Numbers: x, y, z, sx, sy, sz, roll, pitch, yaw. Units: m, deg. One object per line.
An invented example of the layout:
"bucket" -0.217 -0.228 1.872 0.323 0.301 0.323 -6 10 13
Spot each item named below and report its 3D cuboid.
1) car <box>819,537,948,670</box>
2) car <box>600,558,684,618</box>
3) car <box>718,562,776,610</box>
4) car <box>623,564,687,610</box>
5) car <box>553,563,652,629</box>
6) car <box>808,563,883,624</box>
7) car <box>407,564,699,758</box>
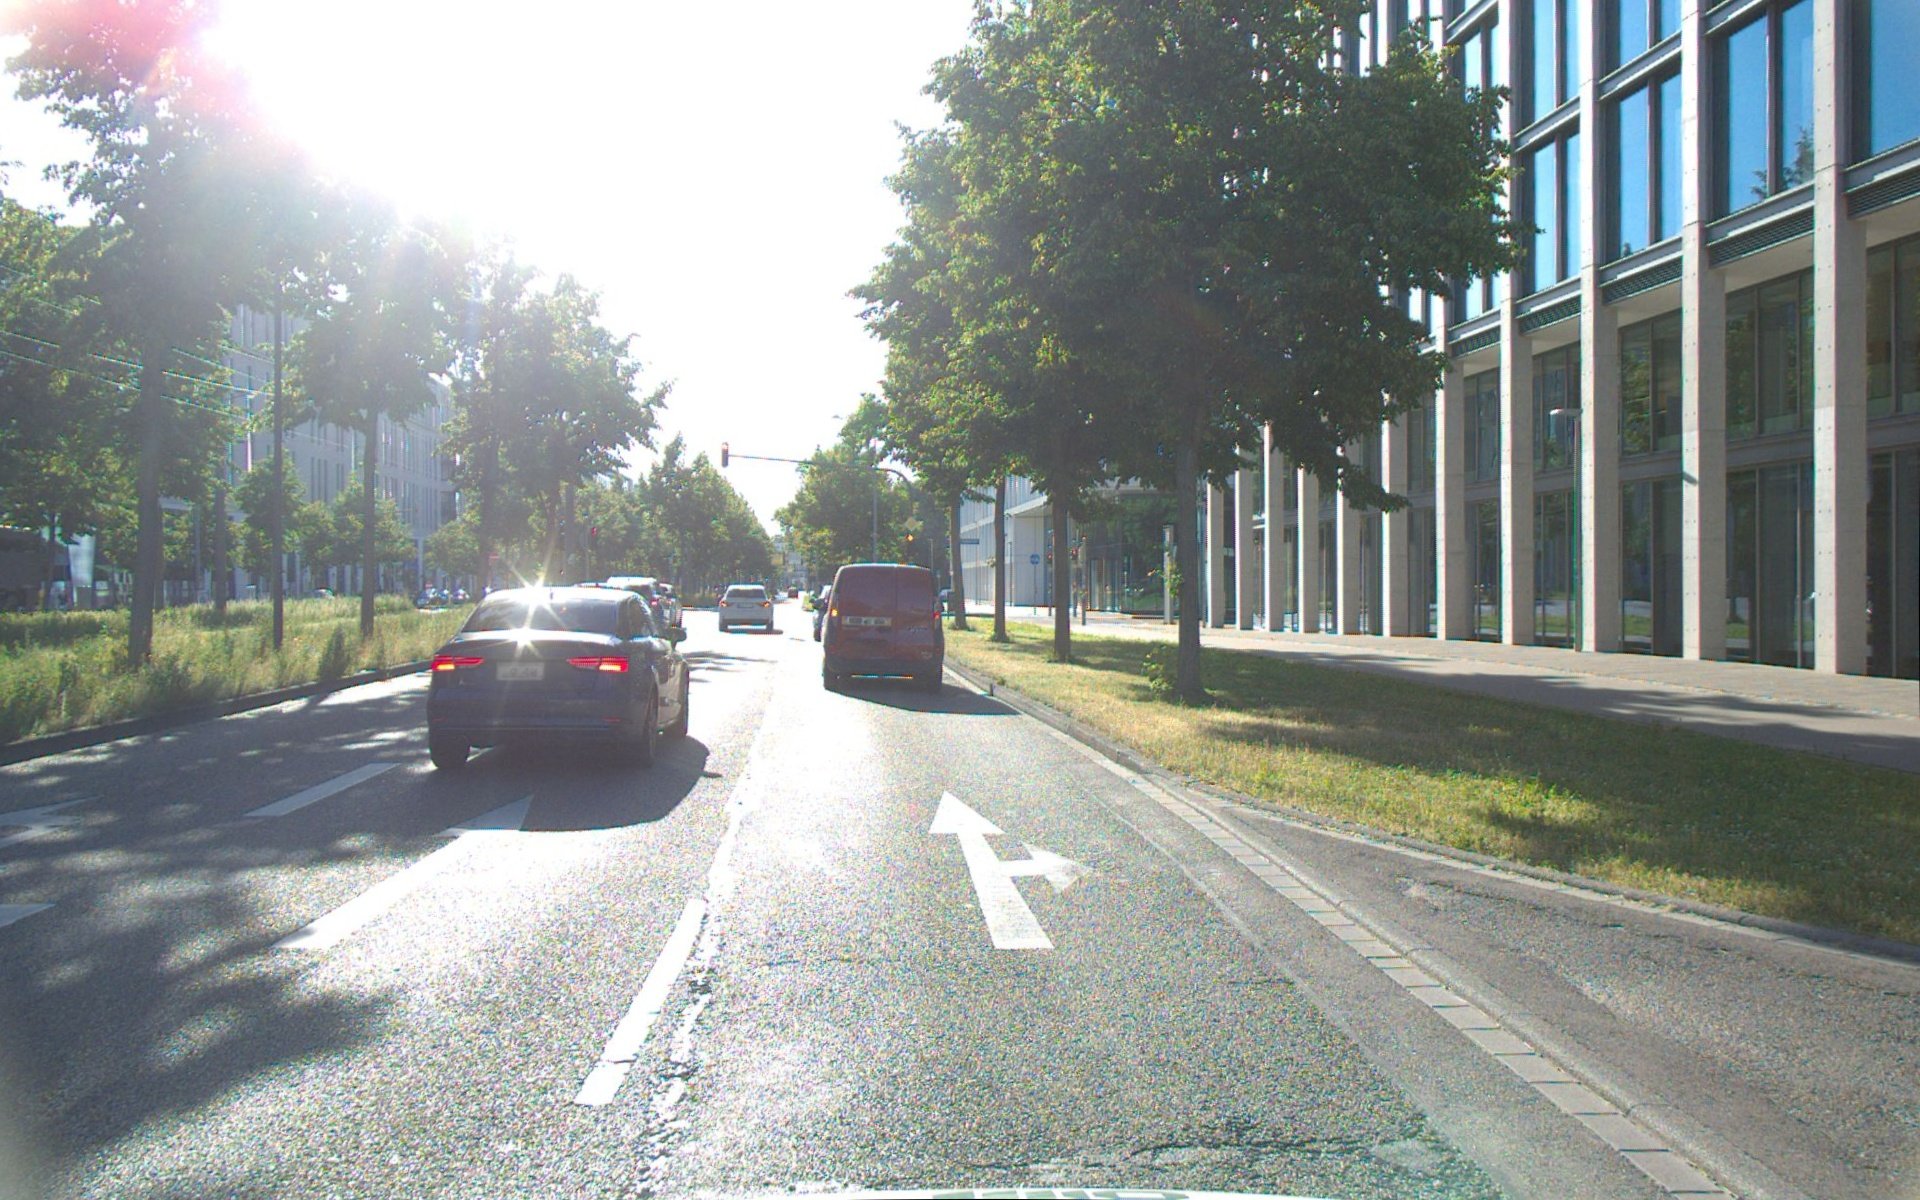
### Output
"car" -1.225 0.010 25.121 1.762 1.808 3.997 2 1 -5
"car" -8.681 -0.361 45.409 1.806 1.561 3.937 0 1 -4
"car" -6.779 -0.472 52.889 1.688 1.450 3.812 0 1 -6
"car" -9.820 -0.449 53.488 1.682 1.422 3.996 0 1 -5
"car" -8.296 -0.126 38.635 1.905 1.466 3.994 0 1 -7
"car" -3.122 -0.199 44.488 1.689 1.450 3.810 1 2 -8
"car" -3.292 0.403 14.134 1.687 1.390 4.143 1 1 -4
